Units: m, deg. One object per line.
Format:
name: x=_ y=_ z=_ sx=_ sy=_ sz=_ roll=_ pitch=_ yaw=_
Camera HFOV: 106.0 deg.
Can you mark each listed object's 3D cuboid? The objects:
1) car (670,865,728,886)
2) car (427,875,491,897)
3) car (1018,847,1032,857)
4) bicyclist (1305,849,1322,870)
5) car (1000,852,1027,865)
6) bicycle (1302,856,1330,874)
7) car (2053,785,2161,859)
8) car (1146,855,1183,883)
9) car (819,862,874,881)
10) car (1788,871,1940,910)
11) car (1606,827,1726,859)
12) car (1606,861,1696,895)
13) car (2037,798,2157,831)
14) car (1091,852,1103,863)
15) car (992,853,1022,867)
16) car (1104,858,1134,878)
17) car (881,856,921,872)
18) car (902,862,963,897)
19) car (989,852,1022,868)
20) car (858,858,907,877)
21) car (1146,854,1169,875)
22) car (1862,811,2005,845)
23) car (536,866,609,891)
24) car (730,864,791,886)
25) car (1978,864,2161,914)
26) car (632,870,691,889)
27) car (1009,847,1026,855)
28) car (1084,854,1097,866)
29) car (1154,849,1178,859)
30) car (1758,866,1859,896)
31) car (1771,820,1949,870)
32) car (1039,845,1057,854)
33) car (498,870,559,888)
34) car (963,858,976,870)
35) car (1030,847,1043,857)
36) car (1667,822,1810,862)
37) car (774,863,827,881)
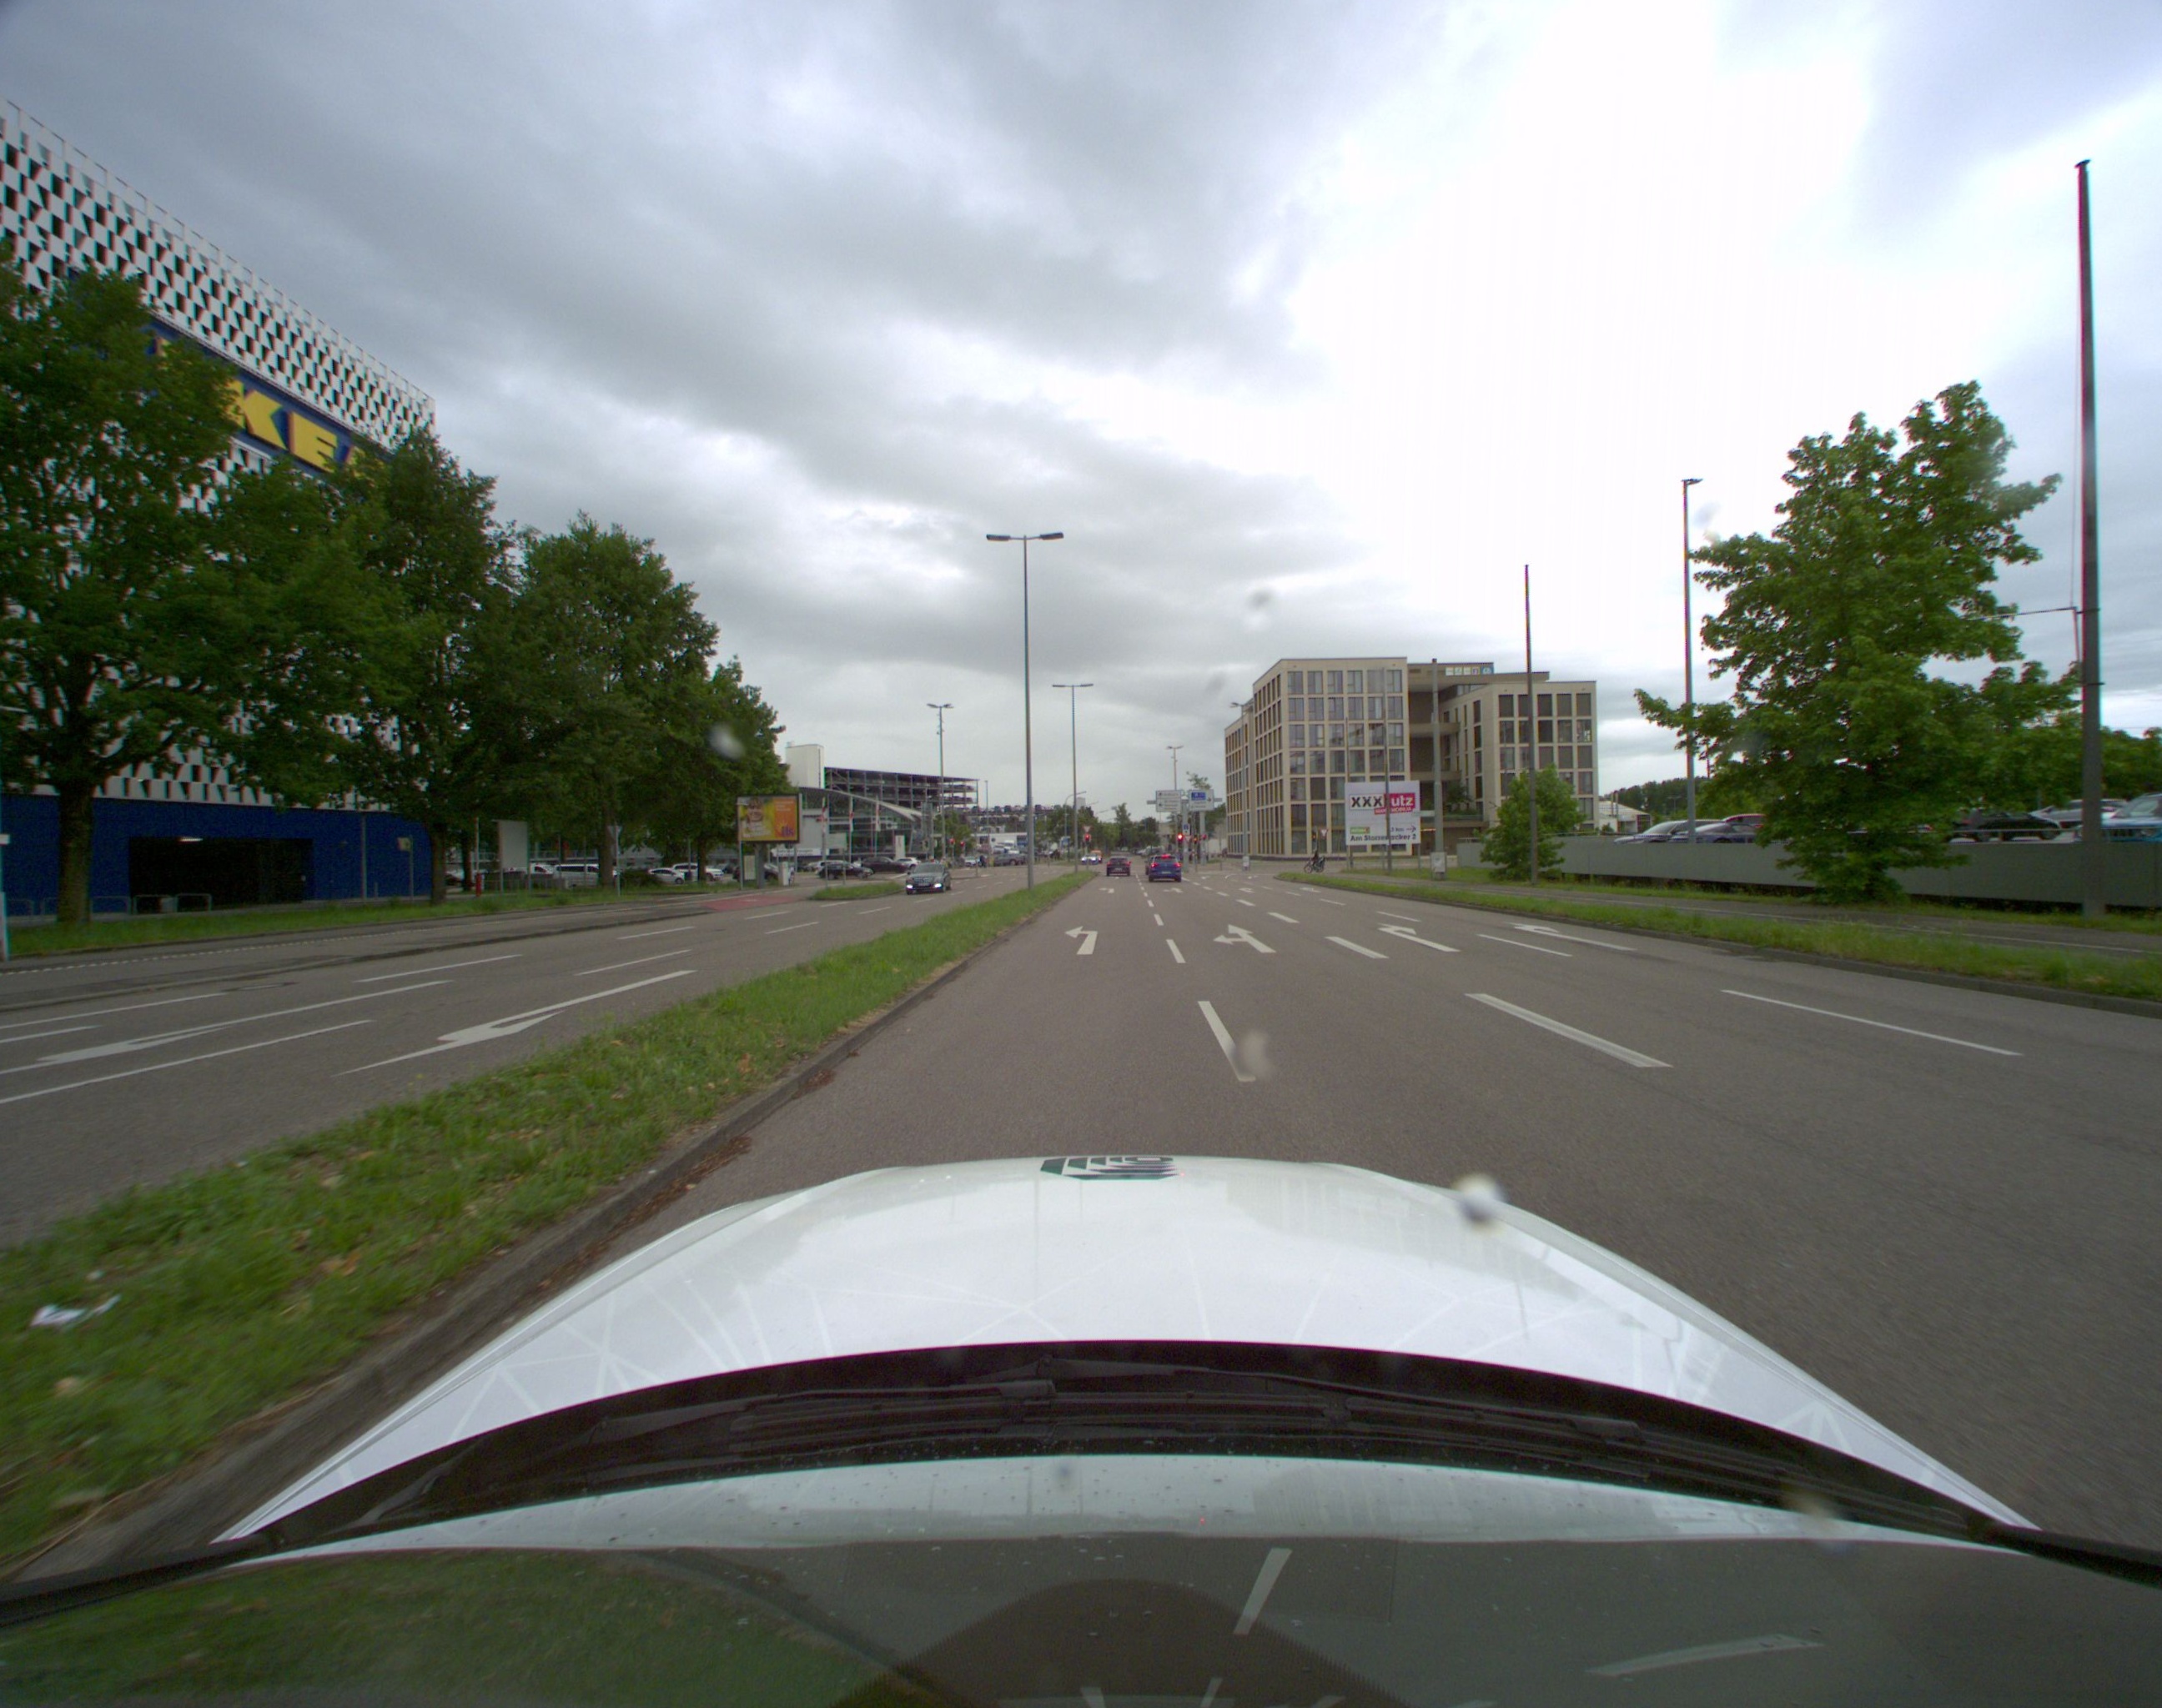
car: x=-35.686 y=1.985 z=76.116 sx=4.423 sy=1.711 sz=1.998 roll=-1 pitch=3 yaw=-4
car: x=-55.069 y=2.827 z=72.104 sx=4.107 sy=1.667 sz=1.847 roll=-1 pitch=2 yaw=-2
car: x=-10.229 y=-0.360 z=147.880 sx=1.766 sy=1.705 sz=3.925 roll=-1 pitch=2 yaw=7
bicyclist: x=17.237 y=0.408 z=60.464 sx=0.705 sy=1.504 sz=0.989 roll=-1 pitch=0 yaw=-34
car: x=-9.468 y=0.629 z=114.552 sx=3.596 sy=1.667 sz=1.547 roll=-1 pitch=2 yaw=-3
bicycle: x=17.377 y=0.798 z=60.284 sx=0.705 sy=1.295 sz=1.990 roll=-1 pitch=0 yaw=-34
car: x=24.277 y=-0.722 z=17.820 sx=4.058 sy=1.524 sz=1.811 roll=-1 pitch=1 yaw=-3
car: x=4.744 y=0.841 z=46.883 sx=1.828 sy=1.514 sz=4.002 roll=-1 pitch=0 yaw=2
car: x=-21.052 y=1.564 z=73.308 sx=4.409 sy=1.660 sz=1.997 roll=-1 pitch=0 yaw=-5
car: x=29.486 y=1.357 z=30.749 sx=4.040 sy=1.350 sz=1.764 roll=-1 pitch=0 yaw=1
car: x=23.726 y=-0.463 z=33.110 sx=3.680 sy=1.176 sz=1.721 roll=-1 pitch=1 yaw=1
car: x=37.158 y=1.527 z=53.329 sx=2.446 sy=2.013 sz=5.111 roll=-1 pitch=0 yaw=2
car: x=53.805 y=-2.069 z=43.181 sx=3.972 sy=1.578 sz=1.867 roll=-1 pitch=0 yaw=2
car: x=2.240 y=0.493 z=115.638 sx=1.594 sy=1.453 sz=3.327 roll=-1 pitch=2 yaw=3
car: x=-9.626 y=0.778 z=106.075 sx=3.813 sy=1.589 sz=1.681 roll=-1 pitch=2 yaw=-3
car: x=2.715 y=1.029 z=59.515 sx=1.981 sy=1.428 sz=4.241 roll=-1 pitch=-1 yaw=0
car: x=-19.498 y=1.081 z=88.257 sx=3.932 sy=1.567 sz=1.759 roll=-1 pitch=2 yaw=-2
car: x=-7.188 y=1.179 z=39.844 sx=1.783 sy=1.479 sz=4.536 roll=-3 pitch=0 yaw=4
car: x=-9.595 y=0.741 z=103.981 sx=3.977 sy=1.790 sz=1.846 roll=-1 pitch=2 yaw=-3
car: x=-19.509 y=1.311 z=80.065 sx=4.397 sy=1.643 sz=1.996 roll=-1 pitch=2 yaw=-6
car: x=5.735 y=0.776 z=61.218 sx=1.519 sy=1.432 sz=3.392 roll=-1 pitch=1 yaw=2
car: x=36.227 y=-1.114 z=34.701 sx=4.087 sy=1.315 sz=1.756 roll=-1 pitch=2 yaw=5
car: x=-45.203 y=2.139 z=72.441 sx=5.118 sy=1.963 sz=1.879 roll=-1 pitch=3 yaw=-2
car: x=-28.646 y=1.860 z=72.889 sx=4.535 sy=1.659 sz=1.997 roll=-2 pitch=0 yaw=-5
car: x=29.259 y=0.993 z=23.830 sx=4.039 sy=1.350 sz=1.764 roll=-1 pitch=0 yaw=1
car: x=-37.487 y=2.276 z=72.844 sx=4.216 sy=1.512 sz=1.993 roll=-1 pitch=1 yaw=-2
car: x=-13.978 y=-0.605 z=179.000 sx=3.656 sy=1.529 sz=1.612 roll=-1 pitch=2 yaw=-5
car: x=1.309 y=0.781 z=107.515 sx=1.594 sy=1.453 sz=3.327 roll=-1 pitch=2 yaw=3
car: x=13.962 y=0.042 z=134.227 sx=3.572 sy=1.478 sz=1.770 roll=0 pitch=2 yaw=22
car: x=35.606 y=1.301 z=39.932 sx=3.605 sy=1.285 sz=1.460 roll=-1 pitch=2 yaw=3
car: x=23.764 y=-0.288 z=24.936 sx=3.860 sy=1.384 sz=1.720 roll=-1 pitch=1 yaw=0
car: x=-6.414 y=-0.889 z=158.009 sx=3.286 sy=1.640 sz=1.479 roll=-1 pitch=2 yaw=-1
car: x=-51.254 y=2.301 z=75.640 sx=4.216 sy=1.504 sz=1.993 roll=-1 pitch=1 yaw=-2
car: x=-13.528 y=1.160 z=98.932 sx=1.372 sy=1.326 sz=3.022 roll=-2 pitch=2 yaw=-12
car: x=-8.047 y=-0.406 z=147.859 sx=1.766 sy=1.705 sz=3.925 roll=-1 pitch=2 yaw=7
car: x=24.315 y=-0.447 z=30.197 sx=3.910 sy=1.351 sz=1.721 roll=-1 pitch=1 yaw=1
car: x=-26.284 y=1.688 z=76.354 sx=4.241 sy=1.509 sz=1.997 roll=-1 pitch=2 yaw=-5
